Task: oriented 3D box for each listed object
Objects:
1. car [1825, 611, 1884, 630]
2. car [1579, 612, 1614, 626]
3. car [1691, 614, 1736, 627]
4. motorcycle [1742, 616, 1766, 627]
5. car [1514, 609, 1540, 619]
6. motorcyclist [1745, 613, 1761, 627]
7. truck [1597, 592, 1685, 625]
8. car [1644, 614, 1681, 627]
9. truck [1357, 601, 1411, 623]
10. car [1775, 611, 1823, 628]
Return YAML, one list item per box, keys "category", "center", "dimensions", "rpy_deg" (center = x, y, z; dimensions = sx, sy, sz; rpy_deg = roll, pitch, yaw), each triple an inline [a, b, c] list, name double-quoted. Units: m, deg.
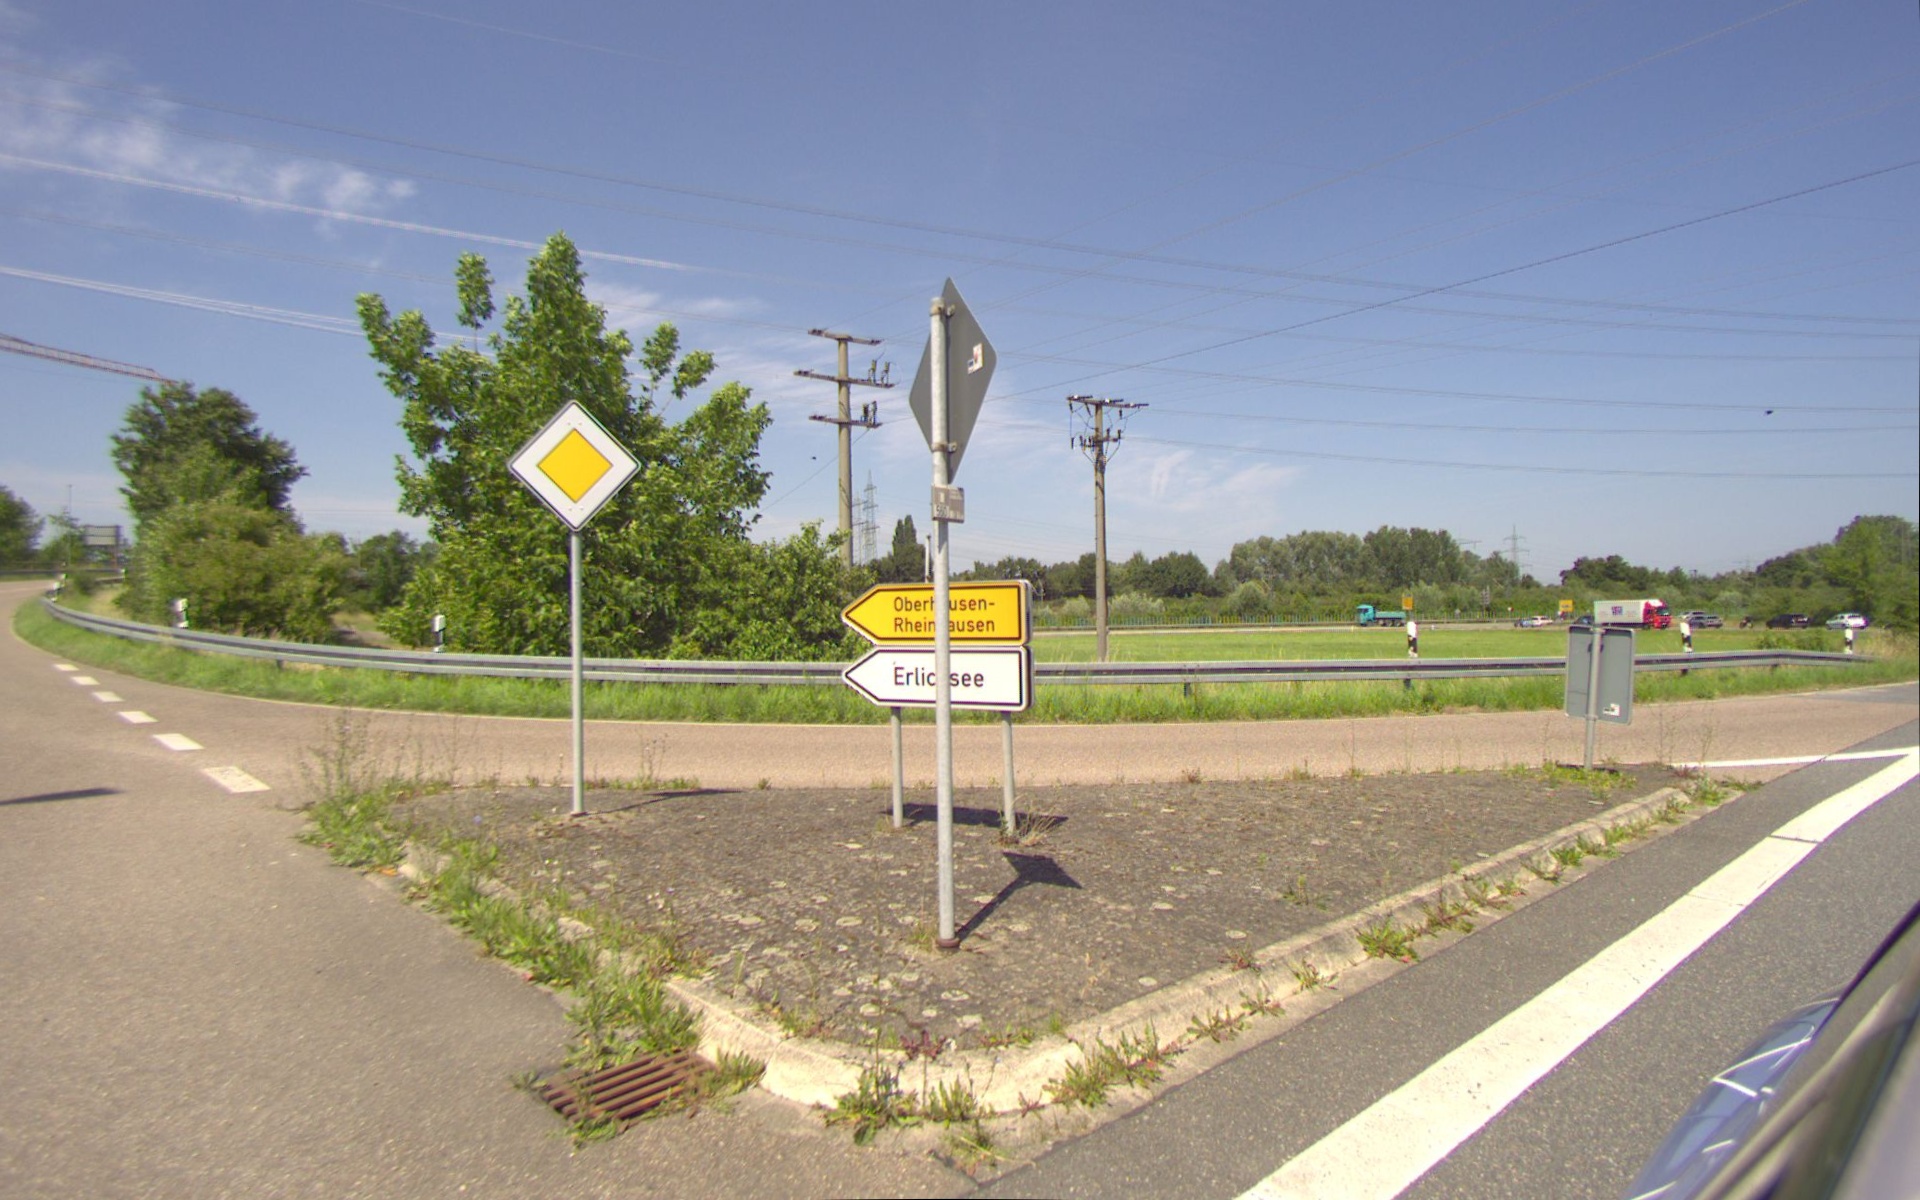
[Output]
- category: "car"
  center: [84.920, 1.986, 96.195]
  dimensions: [1.830, 1.622, 4.762]
  rpy_deg: [-3, -3, 9]
- category: "car"
  center: [87.615, 2.592, 139.368]
  dimensions: [1.897, 1.856, 4.436]
  rpy_deg: [-2, -1, 2]
- category: "car"
  center: [87.669, 2.369, 117.794]
  dimensions: [1.814, 1.478, 4.803]
  rpy_deg: [-2, -1, 4]
- category: "motorcycle"
  center: [86.741, 2.364, 110.604]
  dimensions: [0.770, 1.138, 2.427]
  rpy_deg: [-3, -1, 4]
- category: "car"
  center: [86.912, 2.157, 155.142]
  dimensions: [1.606, 1.478, 4.007]
  rpy_deg: [-1, -1, -1]
- category: "motorcyclist"
  center: [86.717, 2.222, 110.637]
  dimensions: [0.769, 1.514, 1.129]
  rpy_deg: [-2, -1, 4]
- category: "truck"
  center: [81.930, 1.070, 121.977]
  dimensions: [2.669, 3.625, 9.569]
  rpy_deg: [-3, -1, -11]
- category: "car"
  center: [88.053, 2.513, 126.864]
  dimensions: [1.772, 1.535, 4.386]
  rpy_deg: [-1, 0, 4]
- category: "truck"
  center: [69.026, 1.954, 164.850]
  dimensions: [7.469, 3.516, 2.608]
  rpy_deg: [-1, -2, 3]
- category: "car"
  center: [86.479, 2.029, 104.408]
  dimensions: [1.678, 1.659, 4.239]
  rpy_deg: [-3, -2, 7]
